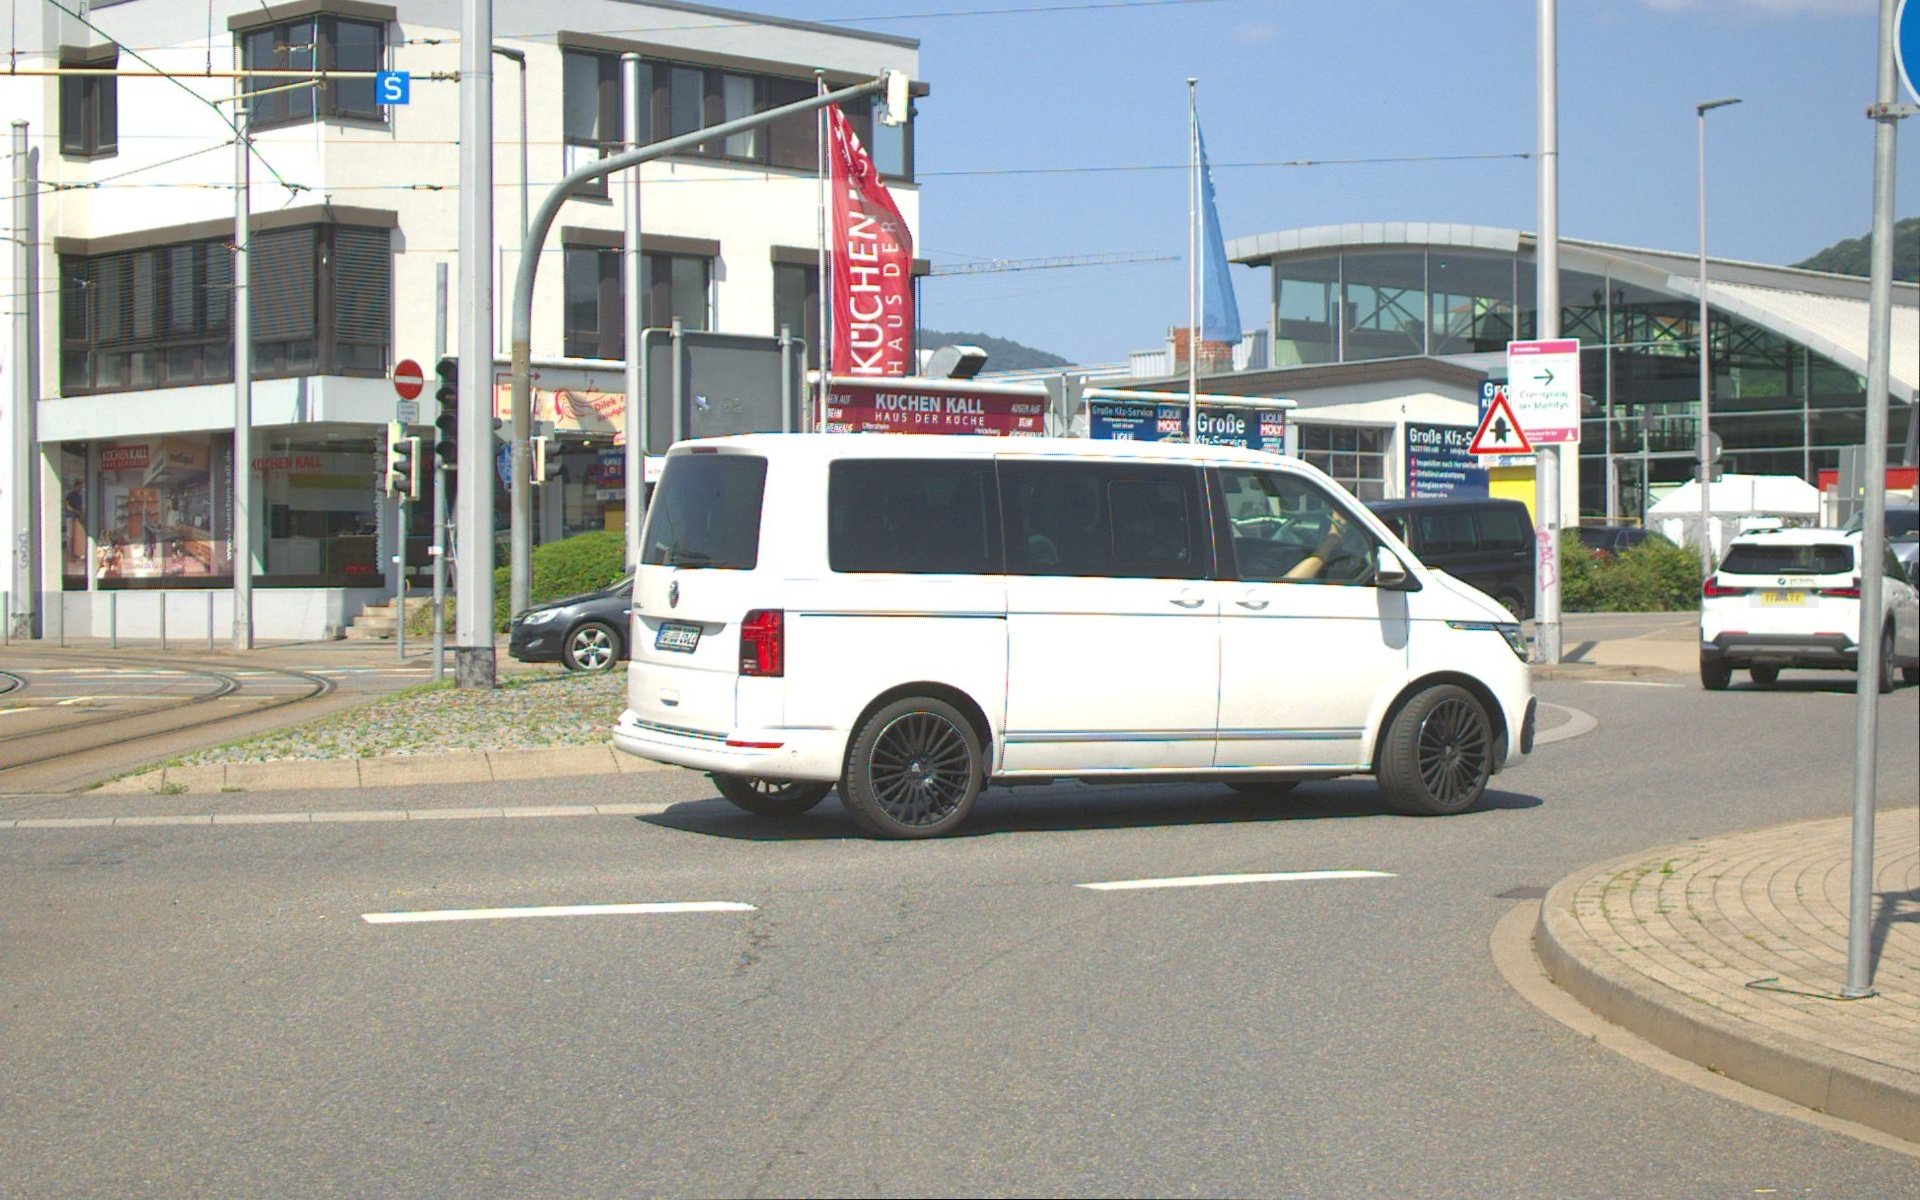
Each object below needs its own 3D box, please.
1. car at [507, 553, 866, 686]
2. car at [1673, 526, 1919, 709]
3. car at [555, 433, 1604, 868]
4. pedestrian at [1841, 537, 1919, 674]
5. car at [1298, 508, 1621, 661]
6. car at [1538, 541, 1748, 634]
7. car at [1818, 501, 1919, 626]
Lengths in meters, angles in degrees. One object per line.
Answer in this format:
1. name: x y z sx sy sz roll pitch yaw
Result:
1. car: -3.371 0.212 41.924 4.227 1.550 1.970 0 1 -9
2. car: 8.733 0.135 35.026 1.996 1.727 4.559 0 1 23
3. car: 0.636 0.191 17.876 5.000 2.007 2.170 -1 1 -25
4. pedestrian: 11.146 0.063 41.615 0.880 1.631 0.952 0 1 12
5. car: 6.761 -0.258 46.178 2.096 1.903 4.628 1 2 42
6. car: 12.592 -0.242 63.274 1.998 1.612 3.990 0 1 42
7. car: 15.981 -0.609 55.441 4.816 1.929 1.932 -1 1 -45
